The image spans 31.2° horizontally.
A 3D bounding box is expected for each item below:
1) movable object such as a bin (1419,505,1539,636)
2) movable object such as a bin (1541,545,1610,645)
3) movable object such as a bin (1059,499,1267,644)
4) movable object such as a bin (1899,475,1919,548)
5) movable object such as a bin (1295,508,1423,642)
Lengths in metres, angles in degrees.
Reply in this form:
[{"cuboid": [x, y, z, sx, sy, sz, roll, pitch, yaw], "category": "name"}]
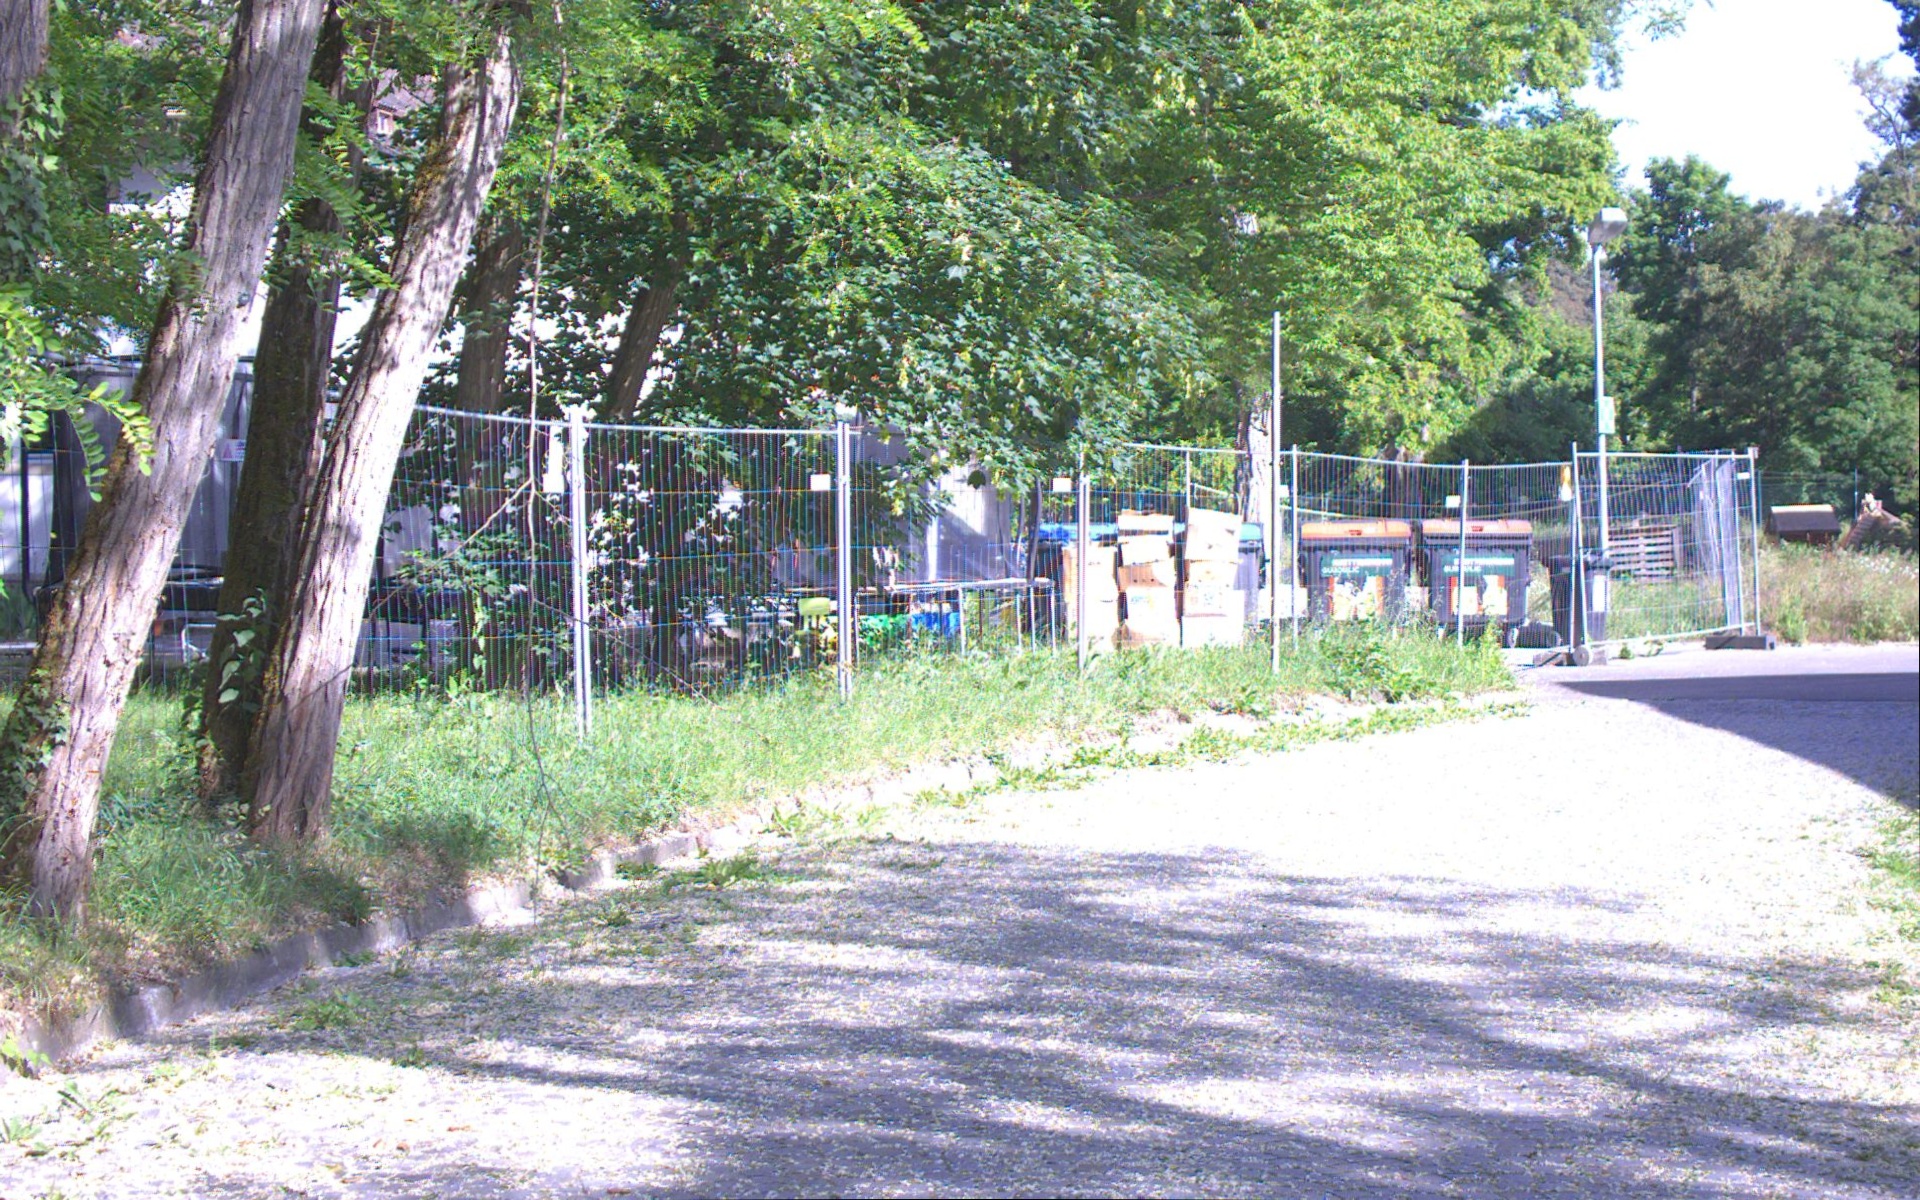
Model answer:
[{"cuboid": [5.808, -0.332, 38.478, 1.244, 1.439, 0.702, 0, 1, 2], "category": "movable object such as a bin"}, {"cuboid": [6.841, -0.059, 38.211, 0.736, 1.094, 0.819, 0, 1, 11], "category": "movable object such as a bin"}, {"cuboid": [2.261, -0.325, 38.596, 2.288, 1.586, 1.174, 0, 1, 2], "category": "movable object such as a bin"}, {"cuboid": [26.838, -2.457, 95.410, 1.419, 2.007, 1.125, 0, 1, 12], "category": "movable object such as a bin"}, {"cuboid": [4.475, -0.291, 38.617, 1.337, 1.479, 0.807, -1, 1, 1], "category": "movable object such as a bin"}]
